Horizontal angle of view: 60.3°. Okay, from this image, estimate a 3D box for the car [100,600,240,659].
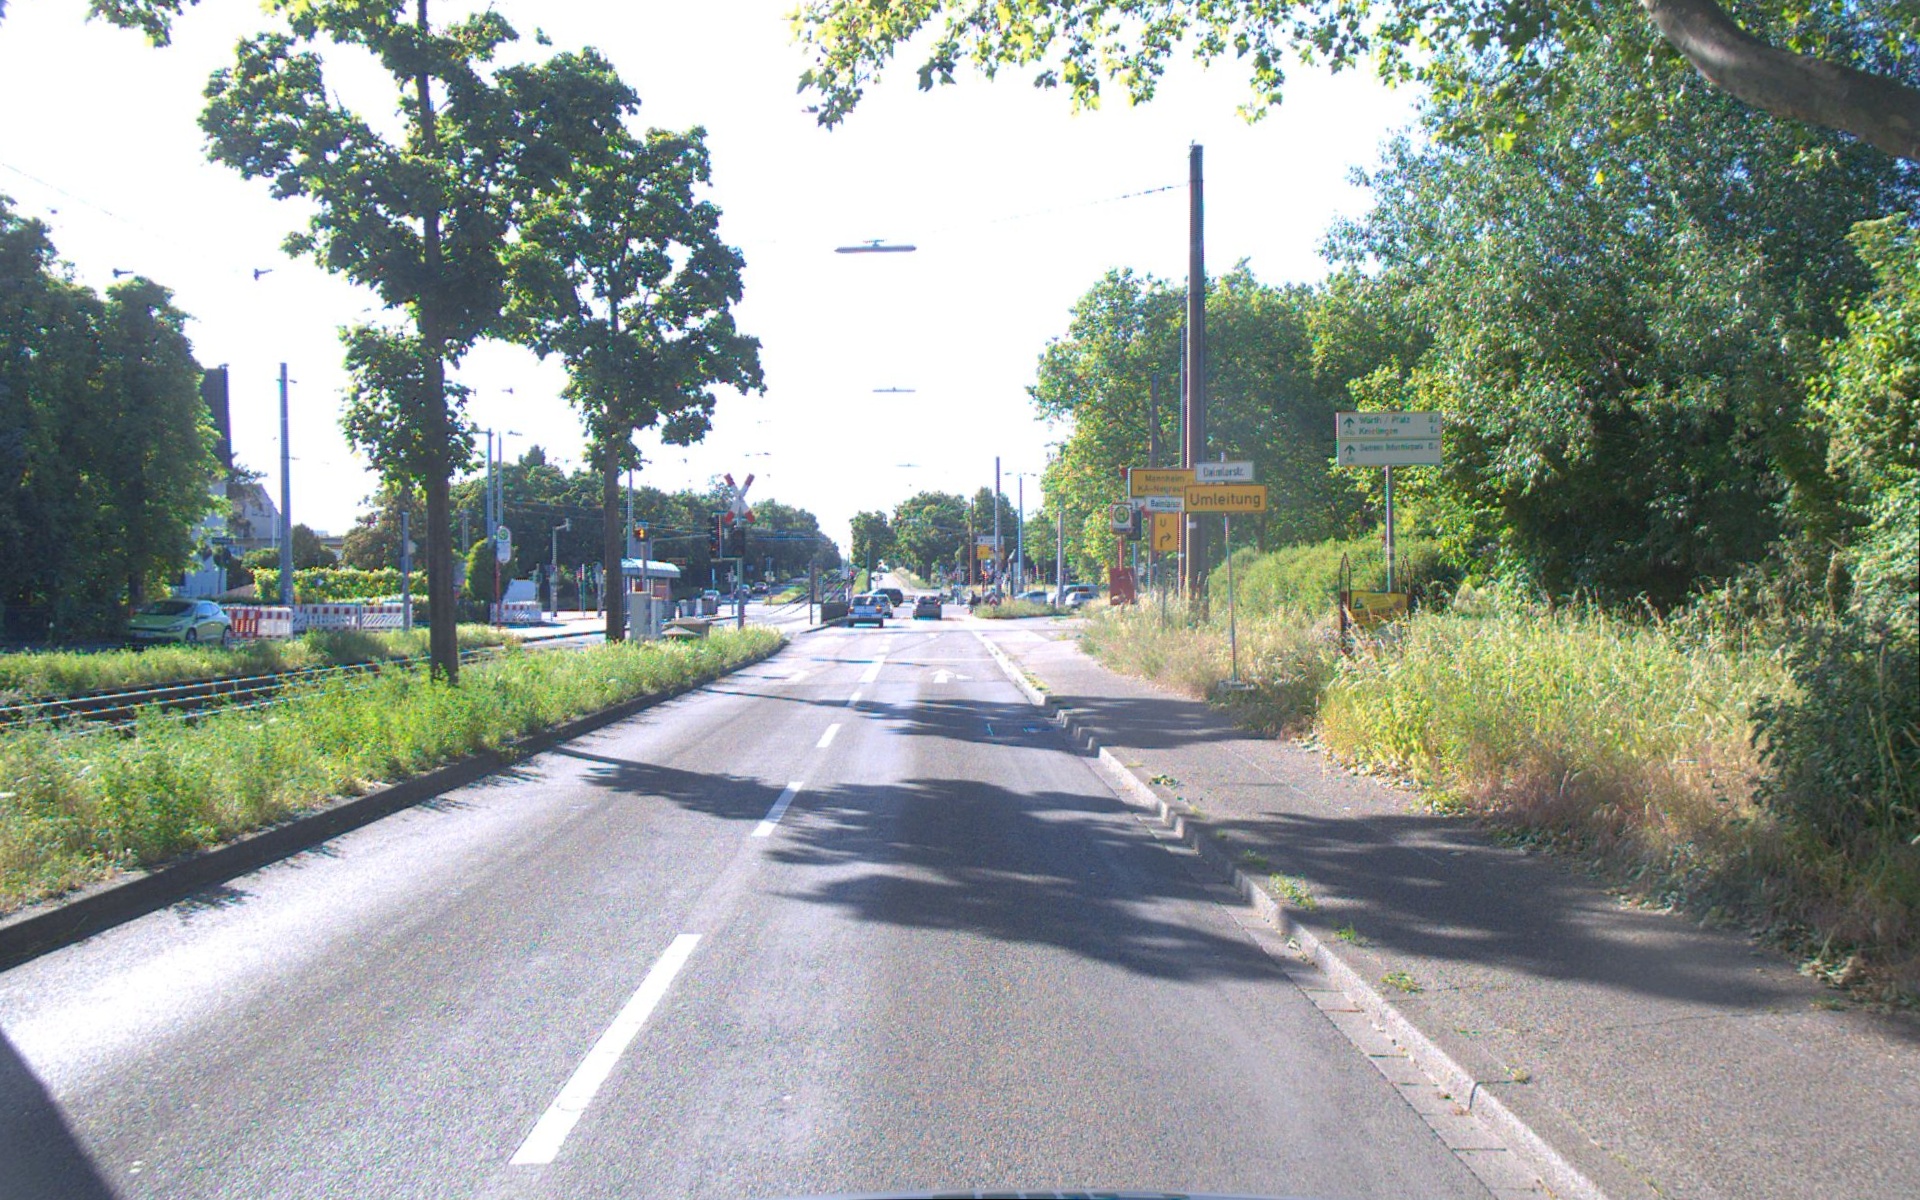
[{"bbox_3d":[-21.970,0.795,46.188,1.953,1.527,4.068,1,0,0],"label":"car"}]

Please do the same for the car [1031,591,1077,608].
[{"bbox_3d":[8.721,-0.077,153.061,3.932,1.499,1.739,1,0,-23],"label":"car"}]

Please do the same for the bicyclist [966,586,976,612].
[{"bbox_3d":[0.767,-0.067,115.685,0.652,1.746,0.948,1,0,-2],"label":"bicyclist"}]

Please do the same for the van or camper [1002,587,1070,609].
[{"bbox_3d":[6.682,-0.188,146.032,5.851,1.860,1.998,0,0,-5],"label":"van or camper"}]

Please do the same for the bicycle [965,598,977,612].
[{"bbox_3d":[0.758,0.346,115.764,0.707,1.006,2.875,1,0,-1],"label":"bicycle"}]

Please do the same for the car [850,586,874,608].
[{"bbox_3d":[-8.990,-0.295,152.172,1.953,2.049,4.491,0,0,-1],"label":"car"}]

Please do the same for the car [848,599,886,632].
[{"bbox_3d":[-4.174,0.681,74.860,1.586,1.442,3.350,-1,0,-1],"label":"car"}]

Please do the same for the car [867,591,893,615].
[{"bbox_3d":[-5.160,0.198,107.156,1.586,1.482,4.084,0,0,-1],"label":"car"}]

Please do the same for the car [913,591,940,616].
[{"bbox_3d":[-2.031,0.213,101.729,1.634,1.487,3.585,0,0,-1],"label":"car"}]

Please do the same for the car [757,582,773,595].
[{"bbox_3d":[-25.128,-1.462,212.952,1.956,1.632,4.746,1,1,-8],"label":"car"}]
